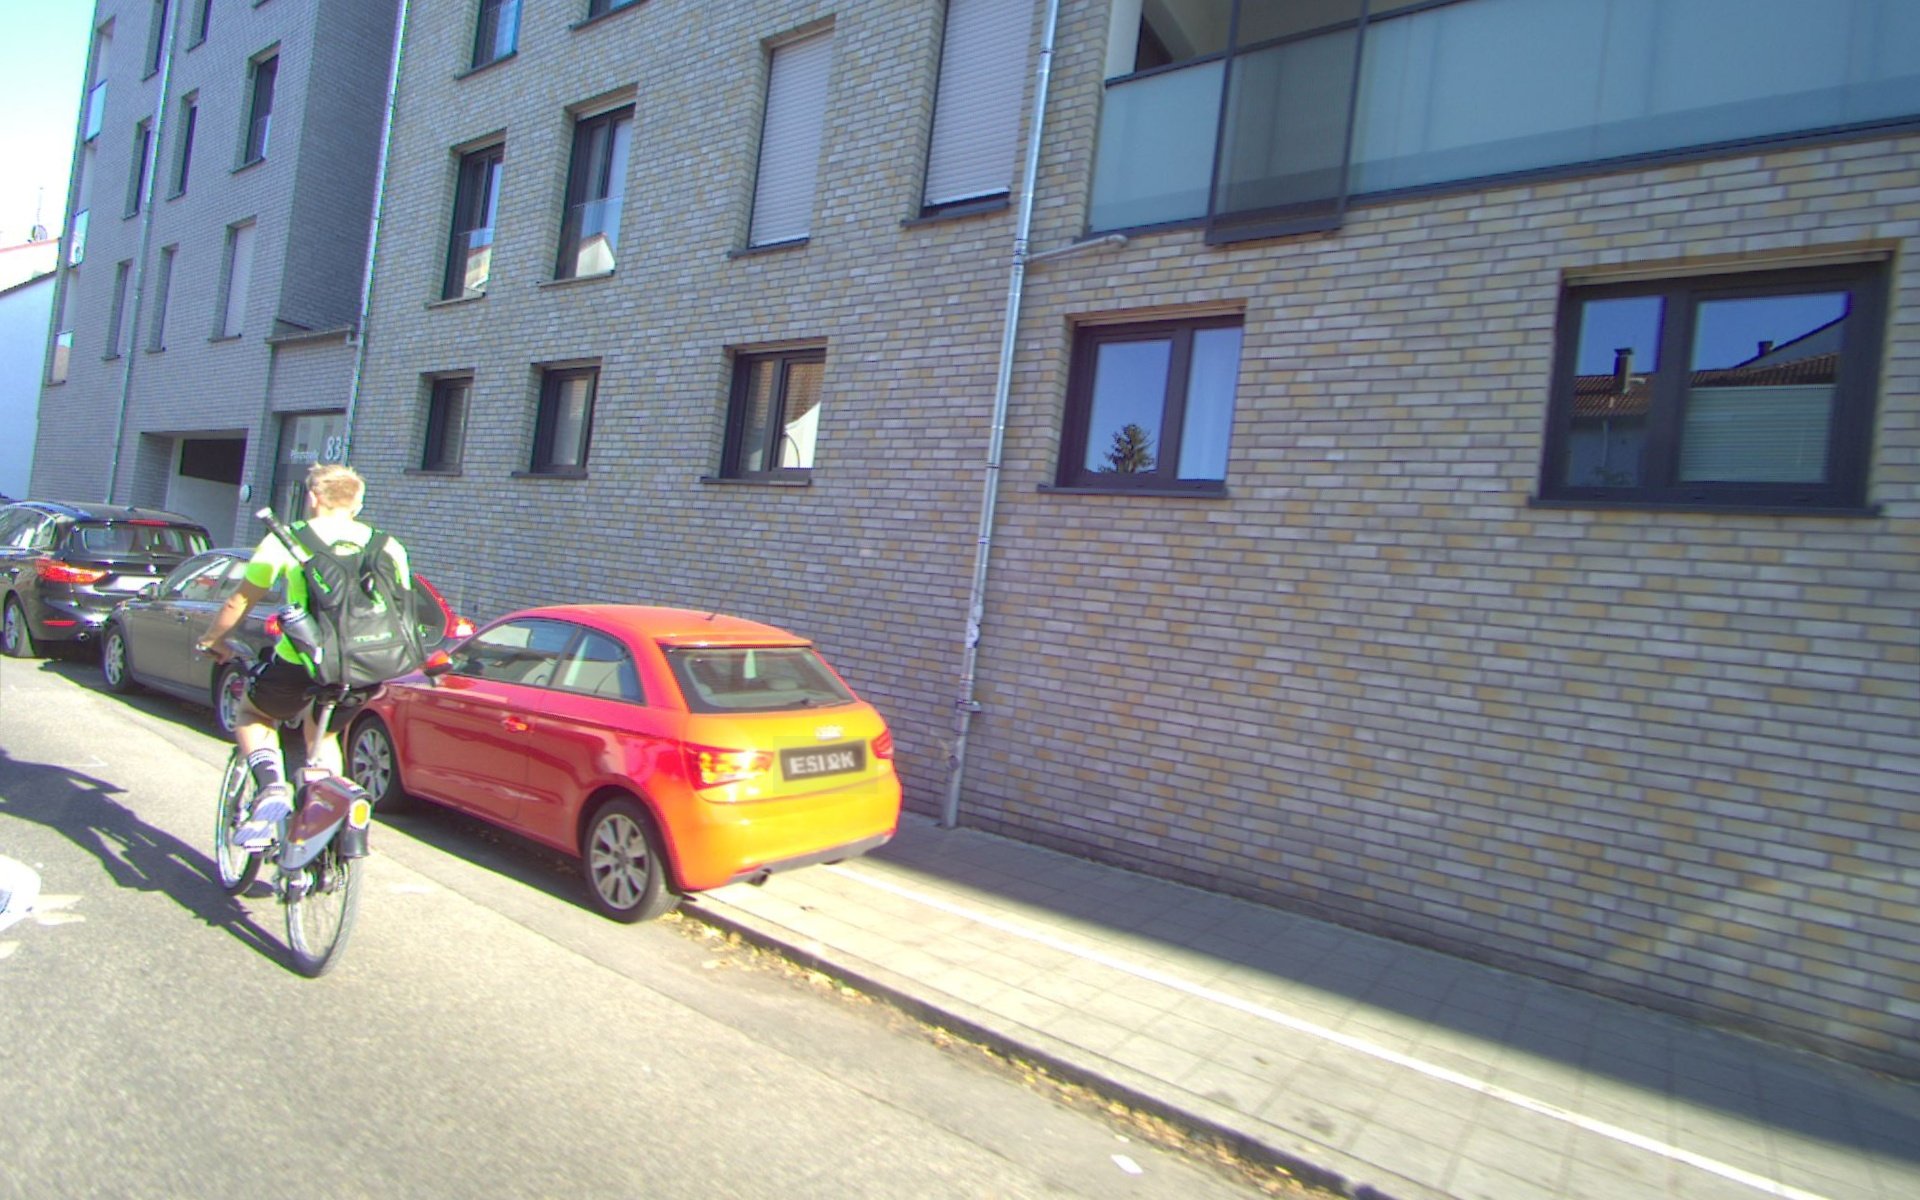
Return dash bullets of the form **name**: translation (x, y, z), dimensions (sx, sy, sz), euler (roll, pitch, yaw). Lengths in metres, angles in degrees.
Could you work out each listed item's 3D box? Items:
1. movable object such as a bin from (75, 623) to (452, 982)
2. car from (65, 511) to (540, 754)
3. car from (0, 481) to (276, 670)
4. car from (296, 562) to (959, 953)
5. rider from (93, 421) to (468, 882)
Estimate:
- **movable object such as a bin**: translation (-2.827, 0.708, 4.009), dimensions (1.811, 1.043, 0.456), euler (4, -5, 34)
- **car**: translation (-6.019, 0.225, 9.068), dimensions (4.297, 1.523, 1.996), euler (6, -2, 35)
- **car**: translation (-10.254, -0.384, 11.726), dimensions (4.685, 1.672, 1.997), euler (7, -2, 33)
- **car**: translation (-2.183, 0.672, 6.136), dimensions (4.009, 1.423, 1.712), euler (6, 1, 35)
- **rider**: translation (-2.681, 0.180, 3.982), dimensions (1.066, 1.577, 0.655), euler (5, -5, 34)
